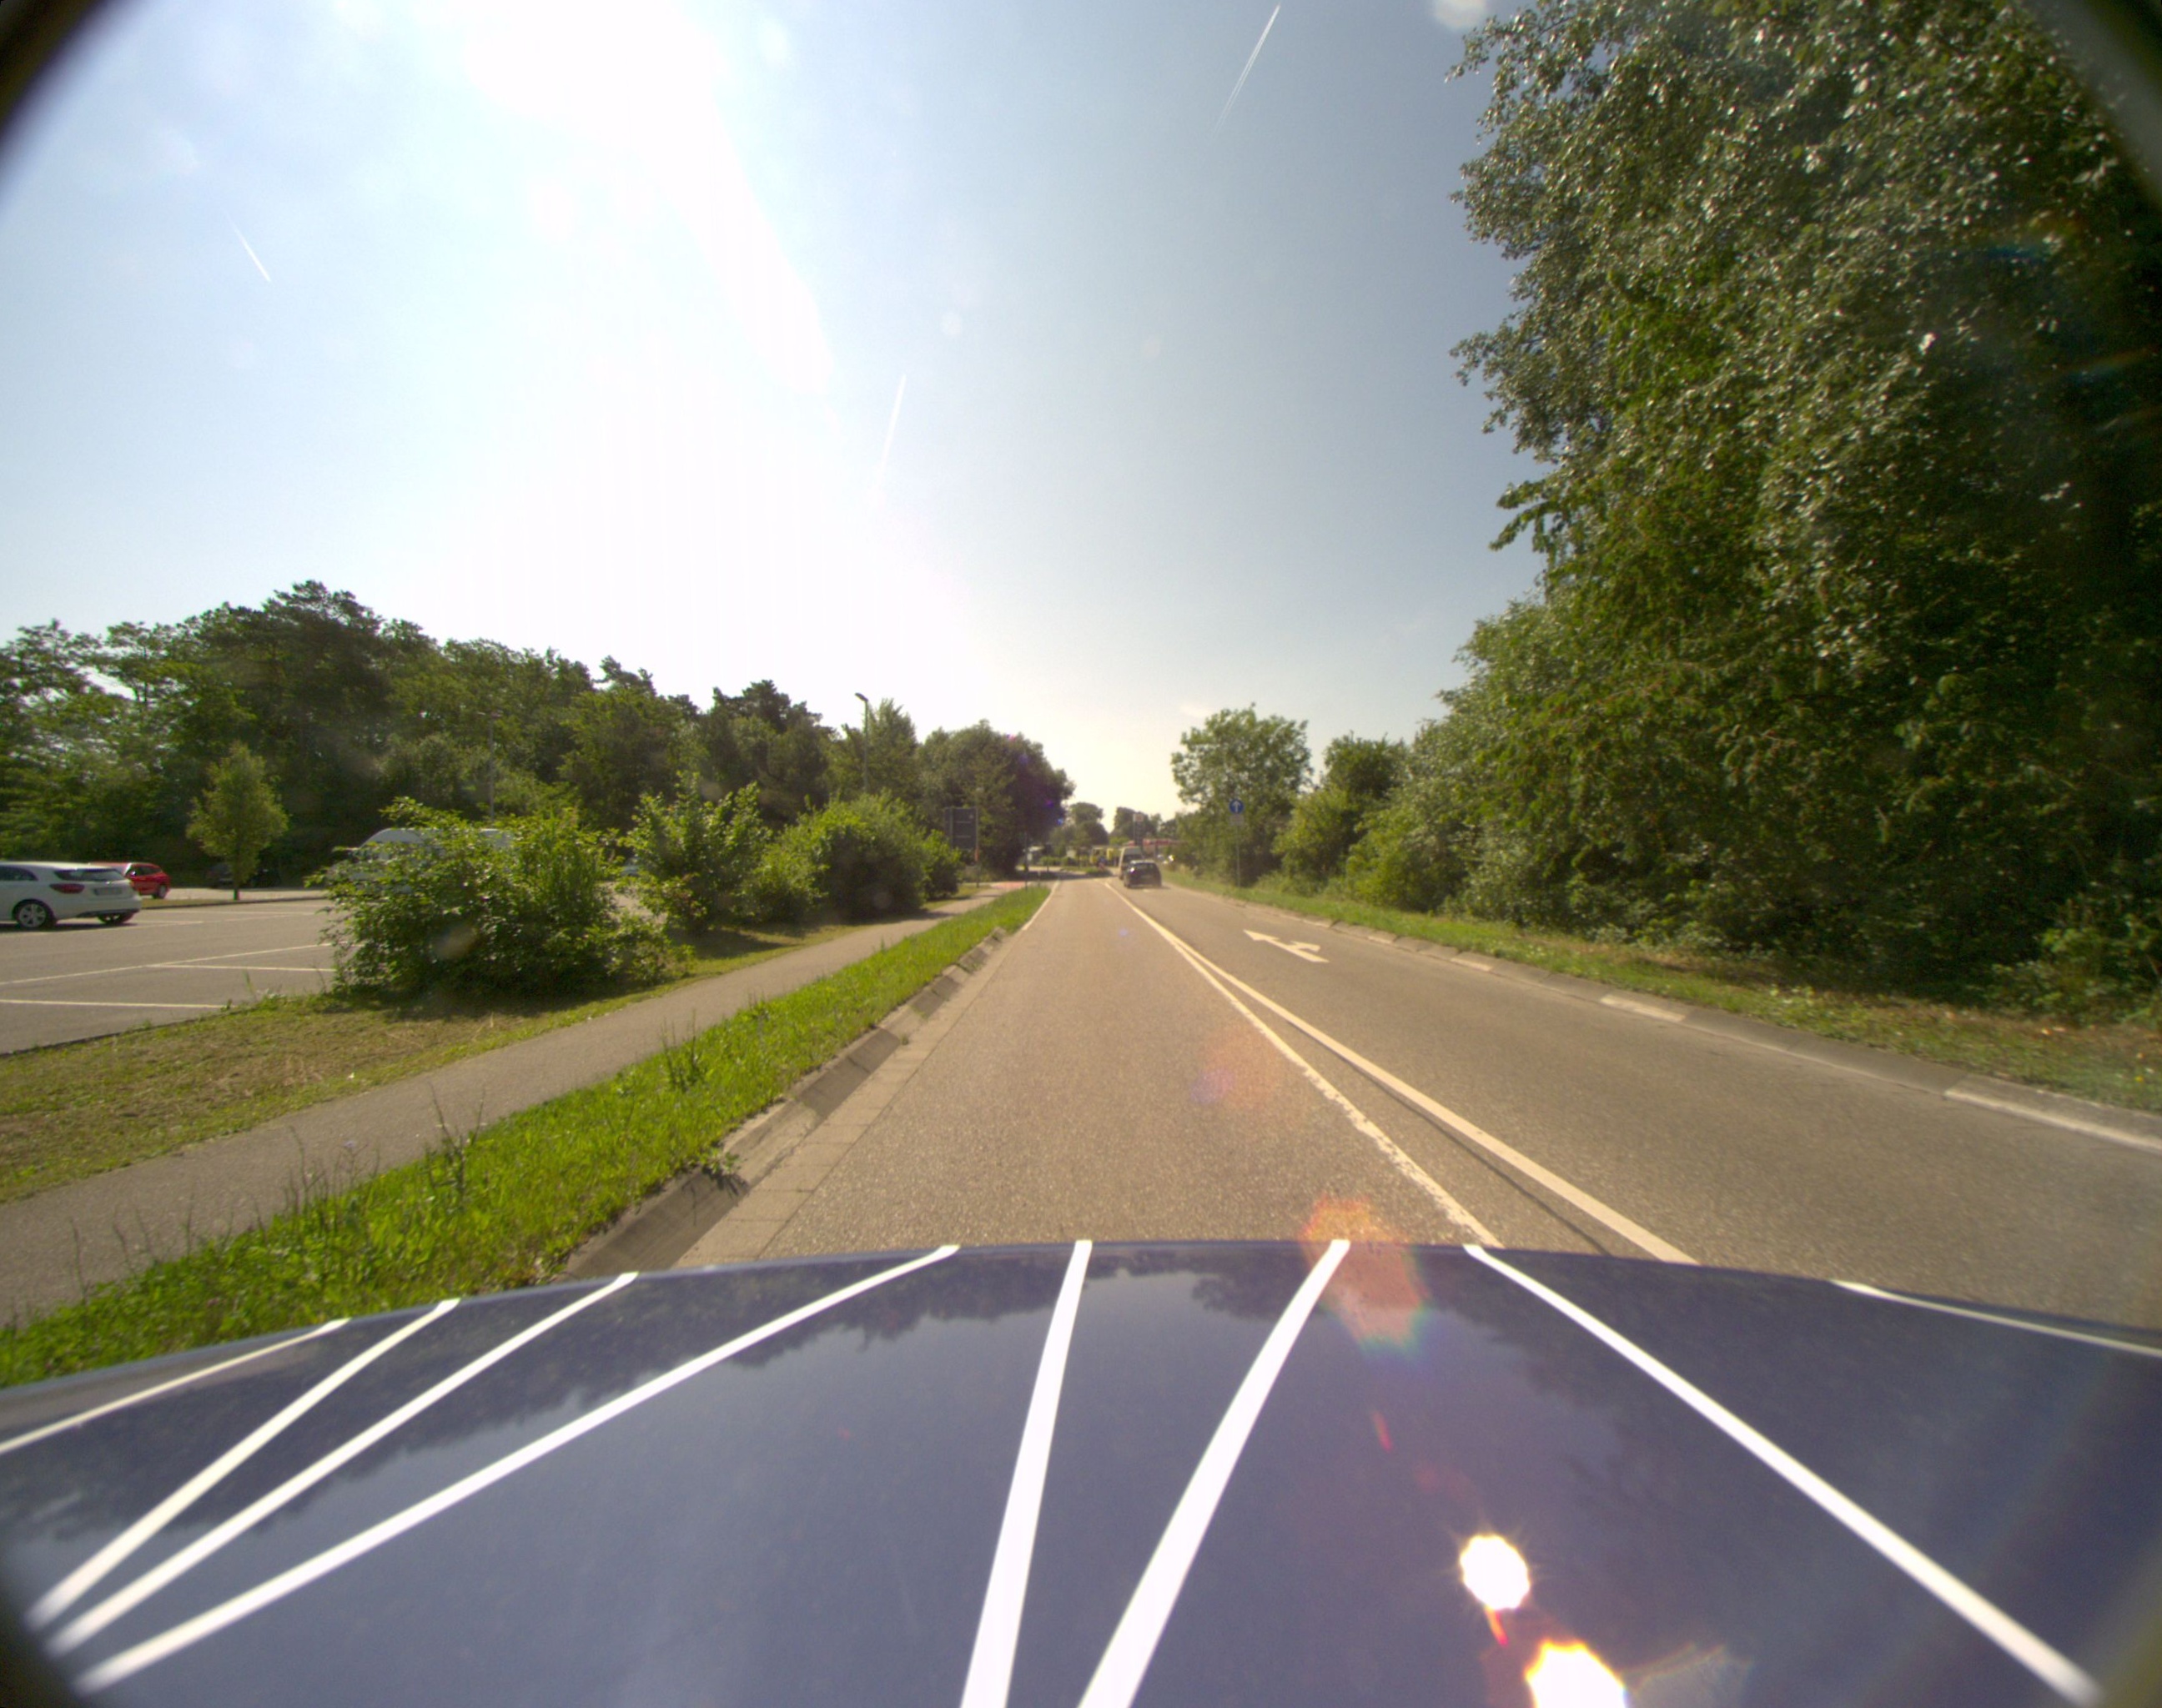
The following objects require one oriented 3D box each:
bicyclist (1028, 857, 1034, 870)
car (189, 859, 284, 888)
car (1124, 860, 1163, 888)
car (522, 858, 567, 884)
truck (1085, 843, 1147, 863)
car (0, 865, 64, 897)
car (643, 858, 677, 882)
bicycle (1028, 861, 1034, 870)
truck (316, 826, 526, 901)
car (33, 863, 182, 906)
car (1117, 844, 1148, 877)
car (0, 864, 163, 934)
[{"bbox_3d":[-6.476,1.263,98.823,0.638,1.720,0.978,-2,0,1],"label":"bicyclist"},{"bbox_3d":[-45.828,1.037,41.370,2.074,1.477,3.991,0,0,-26],"label":"car"},{"bbox_3d":[3.275,1.038,40.390,1.703,1.381,4.293,0,0,-1],"label":"car"},{"bbox_3d":[-32.974,1.025,46.768,1.762,1.522,3.656,0,0,-27],"label":"car"},{"bbox_3d":[5.875,-0.091,130.513,10.334,3.374,3.884,0,0,-2],"label":"truck"},{"bbox_3d":[-52.742,1.302,37.191,1.665,1.477,4.363,0,0,-26],"label":"car"},{"bbox_3d":[-27.748,1.031,50.161,1.762,1.522,4.364,0,0,-27],"label":"car"},{"bbox_3d":[-6.482,1.539,98.749,0.592,1.117,1.520,-2,0,1],"label":"bicycle"},{"bbox_3d":[-23.781,0.345,27.556,5.613,2.590,2.203,0,0,-1],"label":"truck"},{"bbox_3d":[-37.826,1.121,29.710,2.003,1.457,4.484,0,0,-30],"label":"car"},{"bbox_3d":[3.822,0.452,57.316,1.917,2.386,4.909,0,0,-1],"label":"car"},{"bbox_3d":[-23.787,0.969,16.905,3.975,1.444,1.903,0,0,-10],"label":"car"}]
